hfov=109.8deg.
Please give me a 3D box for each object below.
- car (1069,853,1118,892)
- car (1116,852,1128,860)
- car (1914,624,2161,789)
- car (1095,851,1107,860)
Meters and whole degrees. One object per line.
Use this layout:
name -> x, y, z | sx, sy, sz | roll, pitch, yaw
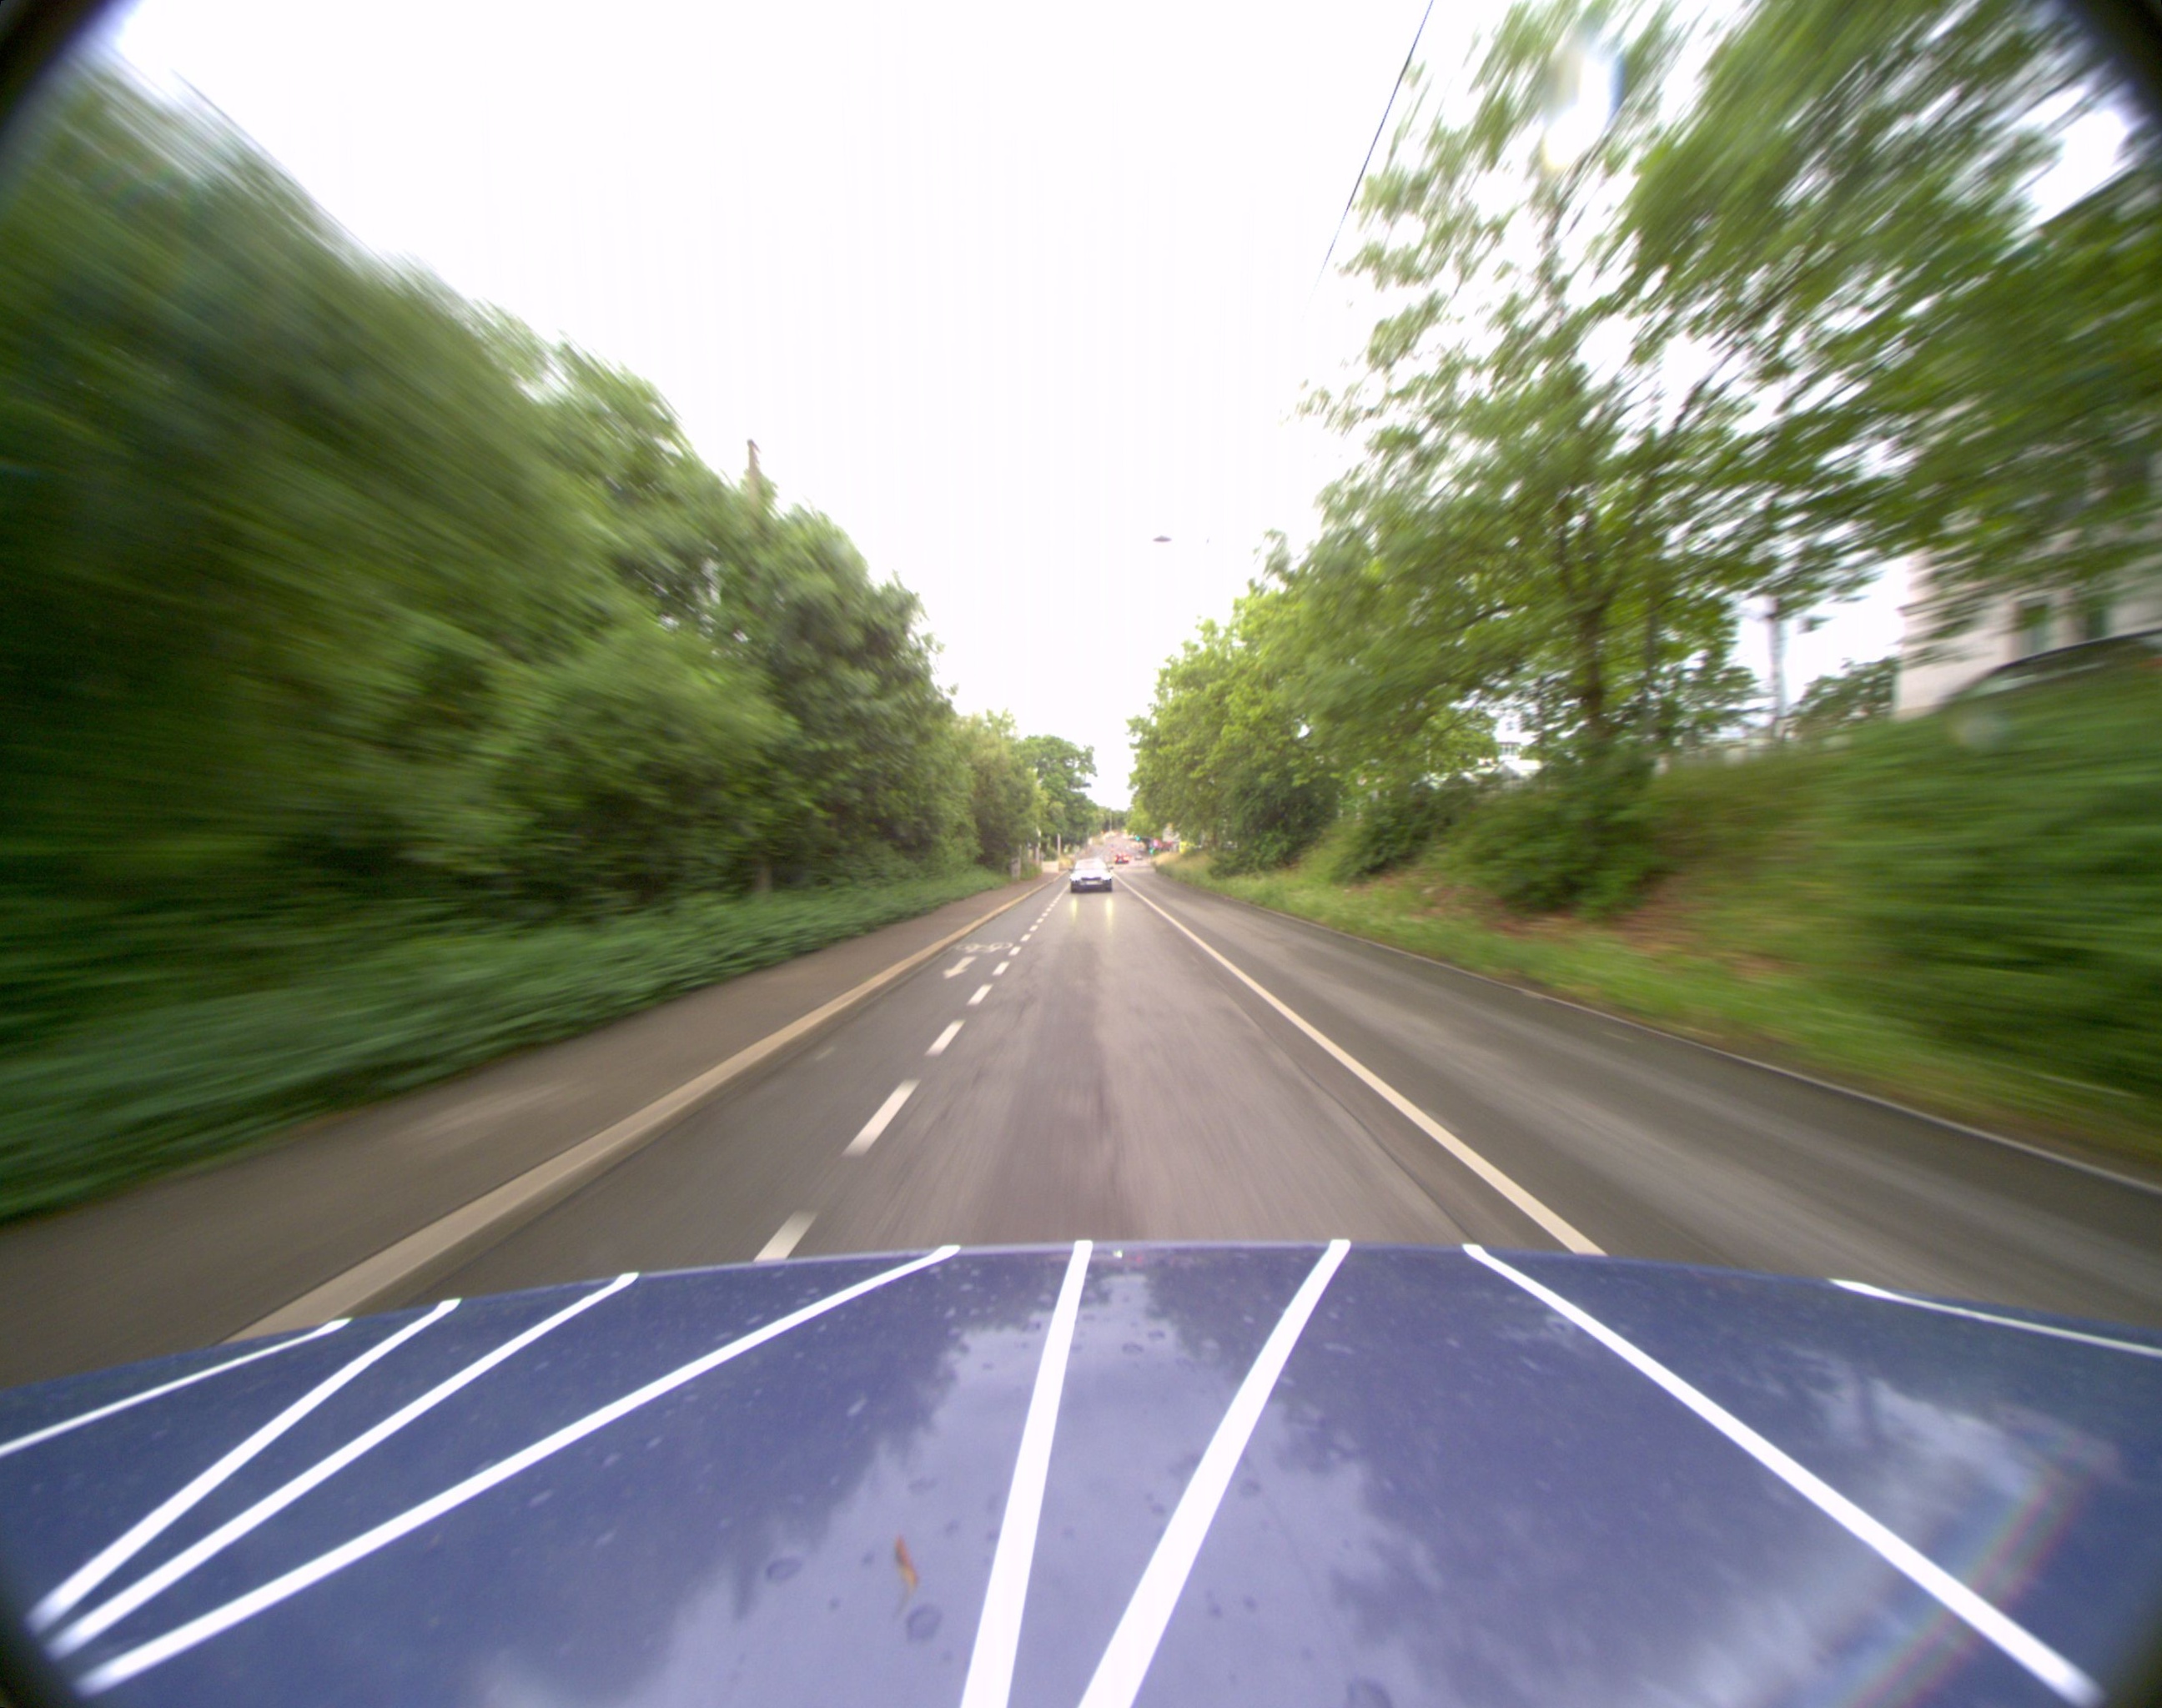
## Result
car -> 0.531, 0.774, 33.574 | 1.981, 1.497, 3.999 | -2, 1, 1
car -> 7.669, 0.375, 142.665 | 1.981, 1.497, 3.999 | -2, 1, 1
car -> 14.430, -1.986, 10.254 | 1.998, 1.833, 3.999 | -2, 1, 1
car -> 3.486, 0.276, 134.643 | 1.981, 1.497, 3.999 | -2, 1, 1
